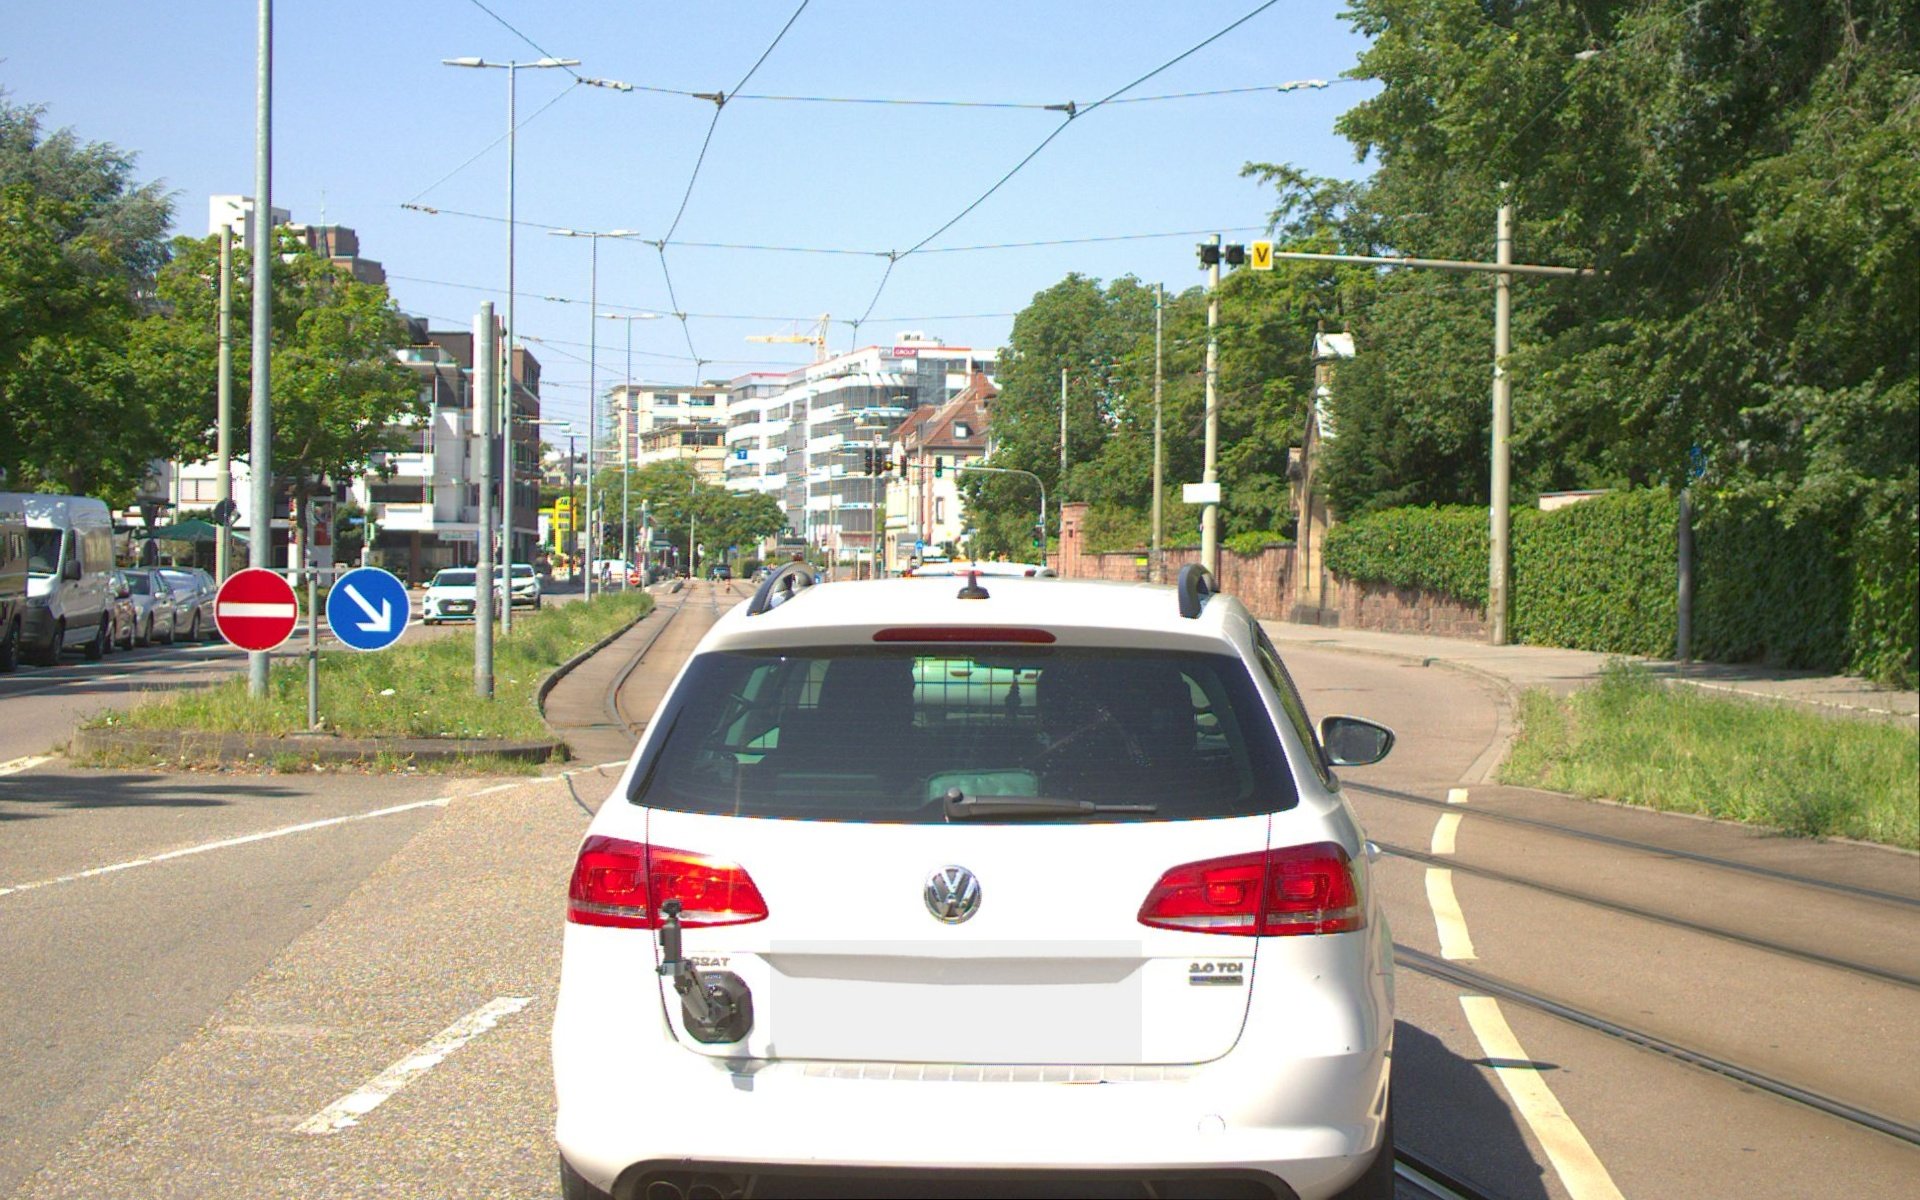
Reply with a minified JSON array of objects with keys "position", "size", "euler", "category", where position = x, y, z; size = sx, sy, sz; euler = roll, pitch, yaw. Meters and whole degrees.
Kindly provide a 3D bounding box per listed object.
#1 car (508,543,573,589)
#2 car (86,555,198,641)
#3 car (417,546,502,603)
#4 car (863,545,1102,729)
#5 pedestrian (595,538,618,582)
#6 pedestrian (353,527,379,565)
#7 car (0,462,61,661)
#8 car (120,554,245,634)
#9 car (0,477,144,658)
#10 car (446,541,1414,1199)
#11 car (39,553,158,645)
[{"position":[-14.912,-1.218,122.397],"size":[2.043,1.591,4.661],"euler":[0,1,-4],"category":"car"},{"position":[-15.261,-0.059,64.292],"size":[1.291,1.485,4.352],"euler":[2,1,-4],"category":"car"},{"position":[-12.712,-0.664,87.496],"size":[1.791,1.418,4.336],"euler":[0,1,-4],"category":"car"},{"position":[0.282,0.307,32.818],"size":[1.731,1.591,4.010],"euler":[2,1,8],"category":"car"},{"position":[-13.906,-1.589,135.123],"size":[0.826,1.733,0.932],"euler":[0,1,-12],"category":"pedestrian"},{"position":[-23.274,-2.107,134.716],"size":[0.565,1.482,0.814],"euler":[1,1,40],"category":"pedestrian"},{"position":[-13.961,-0.571,46.659],"size":[2.195,2.659,6.080],"euler":[2,1,-4],"category":"car"},{"position":[-15.672,-0.154,69.510],"size":[1.604,1.485,4.618],"euler":[2,1,-2],"category":"car"},{"position":[-14.348,-0.554,53.366],"size":[2.195,2.621,5.980],"euler":[2,1,-4],"category":"car"},{"position":[0.126,0.603,8.201],"size":[1.779,1.485,3.846],"euler":[0,1,6],"category":"car"},{"position":[-14.943,-0.048,59.753],"size":[1.291,1.485,3.677],"euler":[2,1,-4],"category":"car"}]
